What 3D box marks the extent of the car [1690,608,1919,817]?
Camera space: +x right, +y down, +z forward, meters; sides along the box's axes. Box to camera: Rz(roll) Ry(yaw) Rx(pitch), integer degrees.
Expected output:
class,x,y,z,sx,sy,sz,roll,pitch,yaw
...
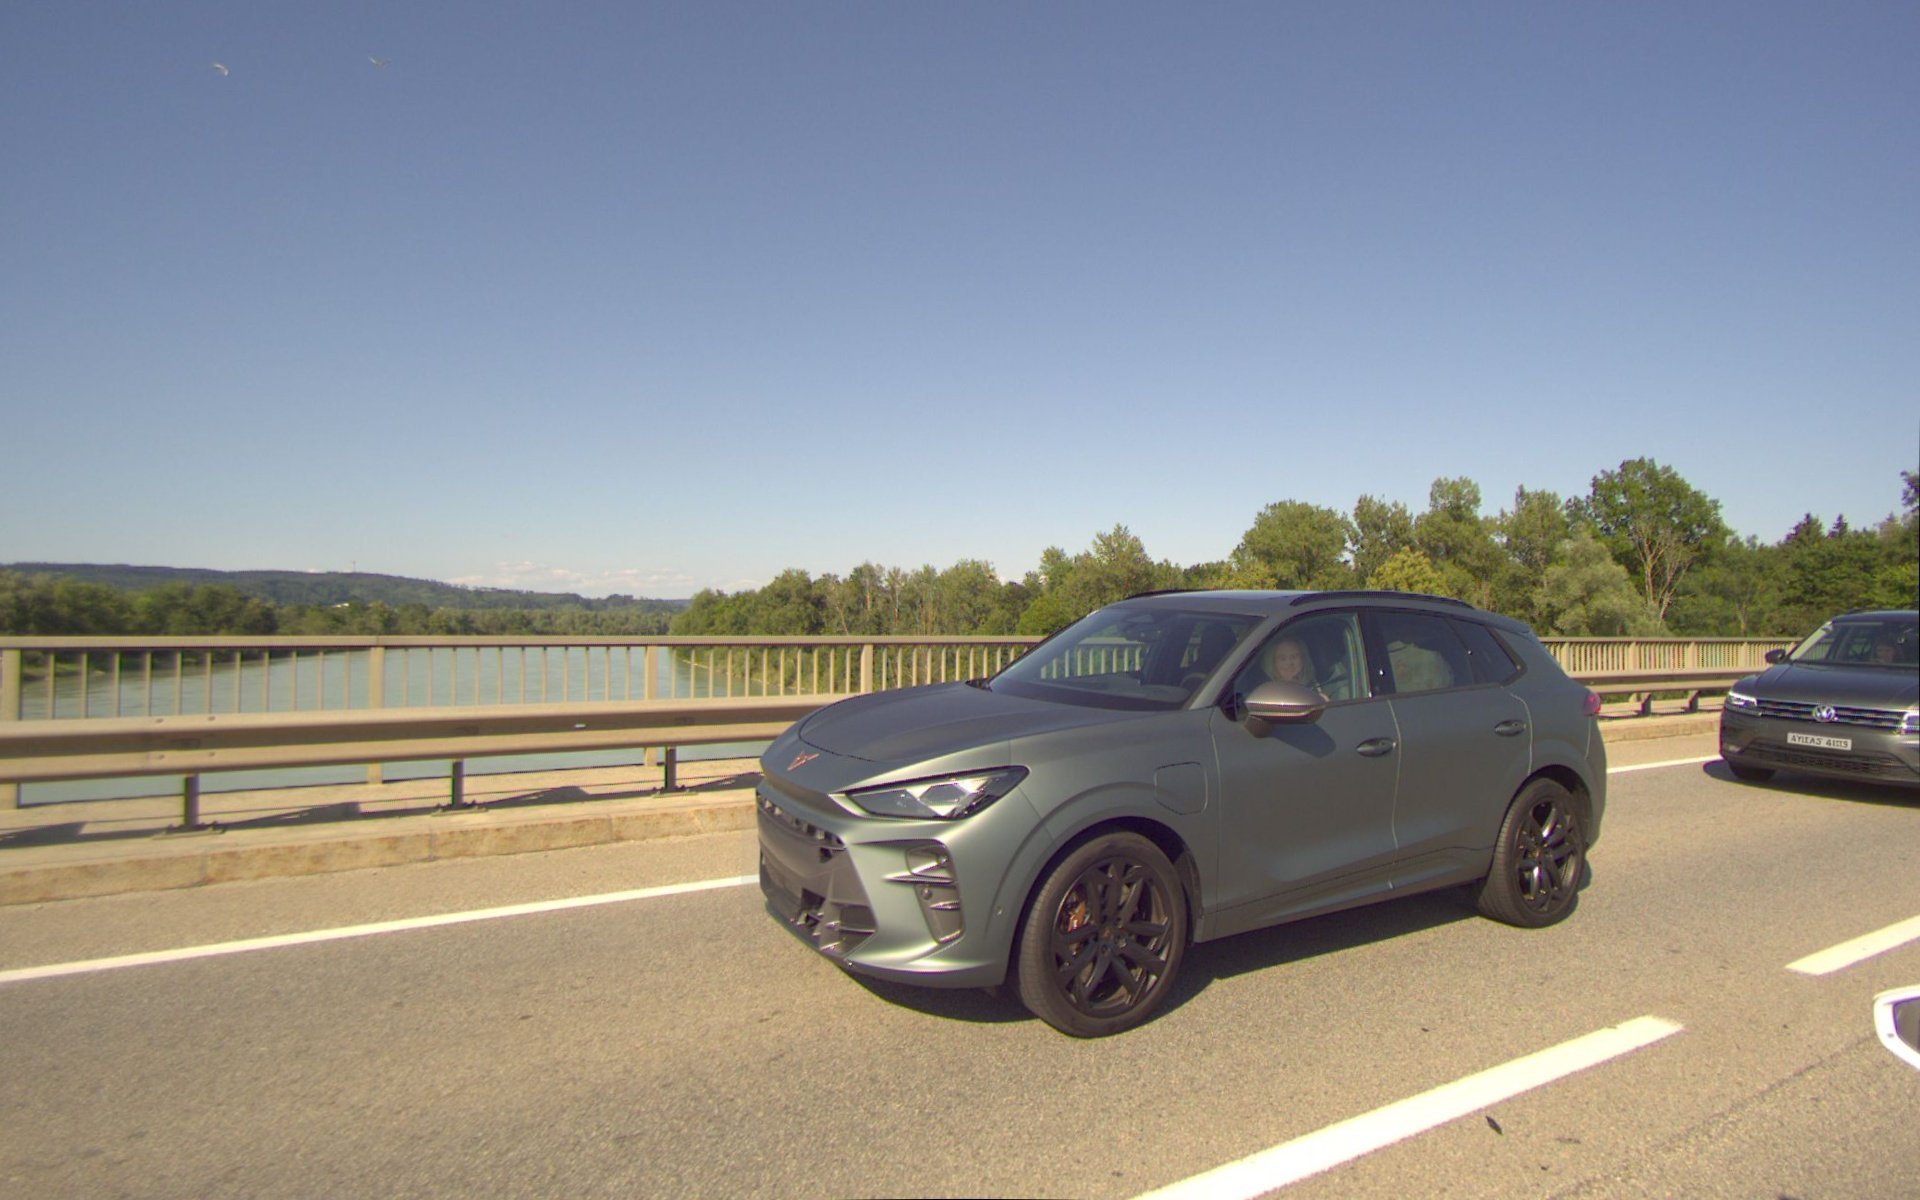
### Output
class,x,y,z,sx,sy,sz,roll,pitch,yaw
car,8.928,0.905,9.371,4.222,1.605,1.866,1,-1,-30

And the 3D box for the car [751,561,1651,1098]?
class,x,y,z,sx,sy,sz,roll,pitch,yaw
car,1.286,0.720,4.838,4.152,1.598,1.797,1,-1,-31
